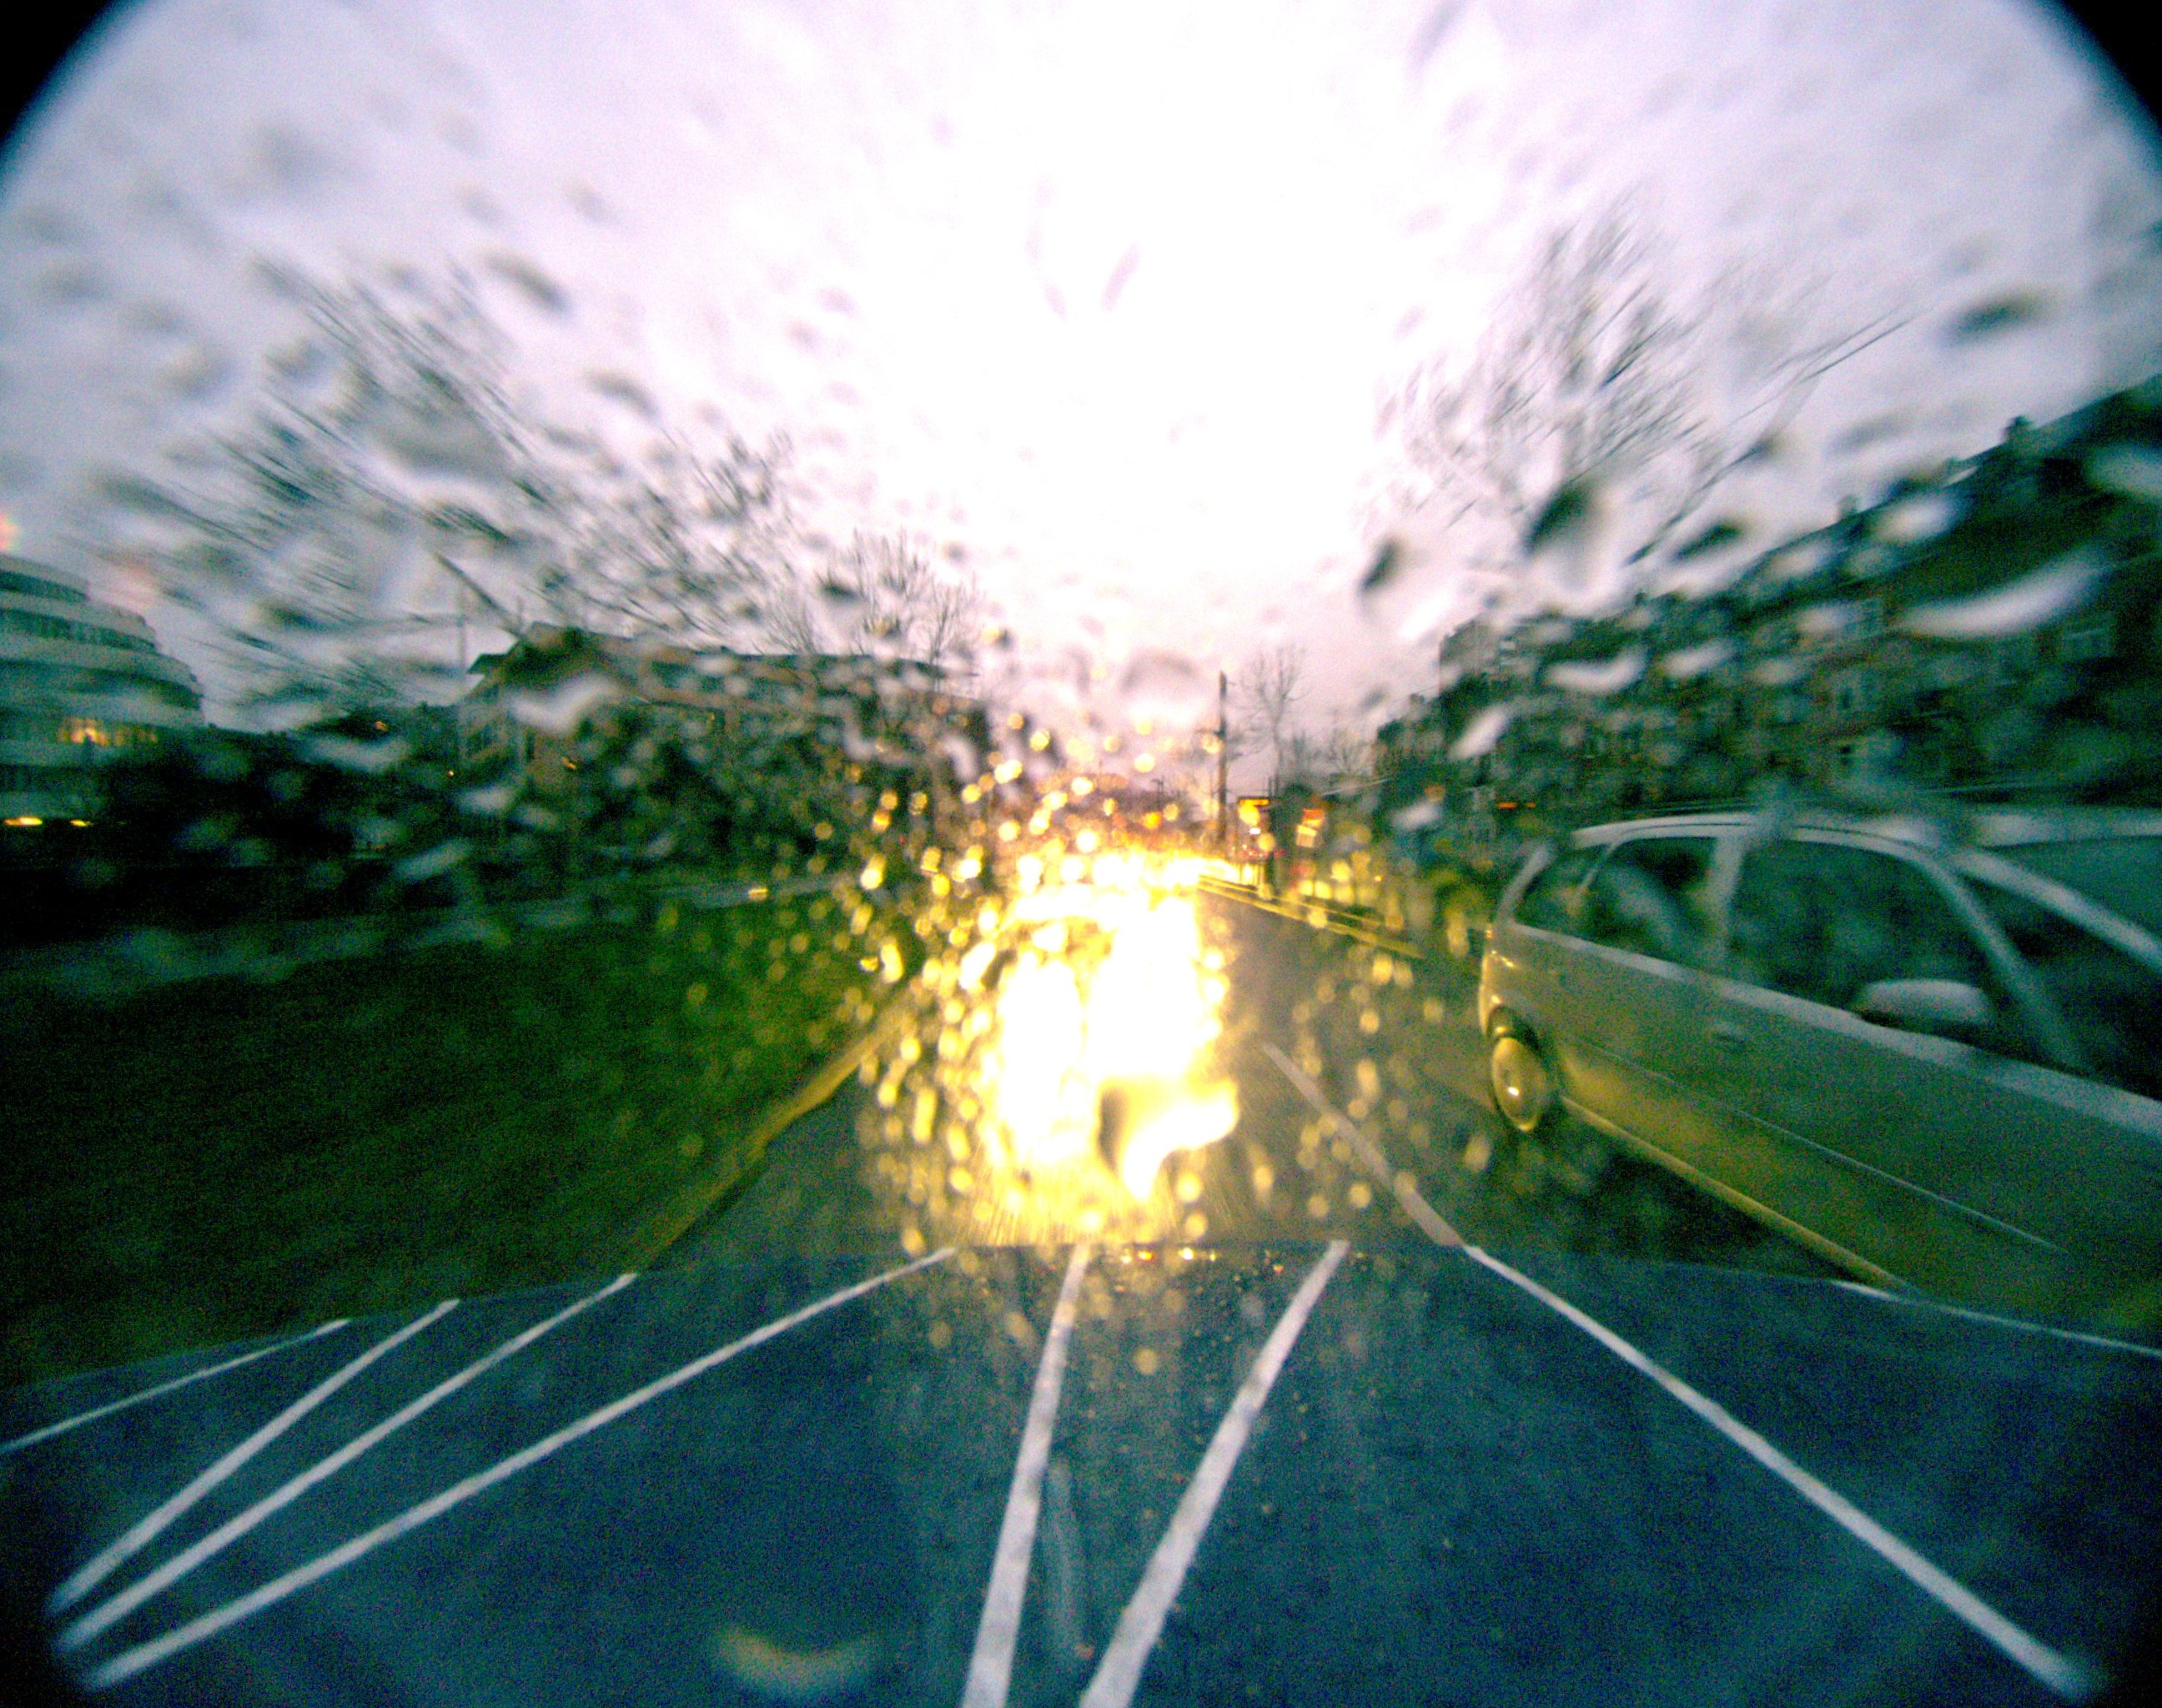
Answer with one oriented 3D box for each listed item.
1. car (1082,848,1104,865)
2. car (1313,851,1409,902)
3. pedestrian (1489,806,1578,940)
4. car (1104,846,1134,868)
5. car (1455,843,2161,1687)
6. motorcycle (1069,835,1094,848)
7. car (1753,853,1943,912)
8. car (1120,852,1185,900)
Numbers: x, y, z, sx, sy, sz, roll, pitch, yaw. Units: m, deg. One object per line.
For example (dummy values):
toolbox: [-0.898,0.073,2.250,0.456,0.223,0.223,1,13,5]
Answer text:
car: [1.075,0.183,67.991,1.813,1.385,4.053,-1,1,1]
car: [9.068,0.677,24.938,1.667,1.477,3.999,1,1,1]
pedestrian: [7.055,0.277,11.902,0.876,2.002,0.931,2,1,12]
car: [2.485,0.163,50.047,1.813,1.385,4.053,-1,1,1]
car: [2.979,0.778,2.224,1.813,1.591,4.053,-1,1,1]
motorcycle: [0.132,-1.999,122.782,3.997,2.002,0.926,-2,2,1]
car: [22.484,0.776,22.496,1.683,1.526,3.748,2,1,-3]
car: [2.254,0.672,24.984,1.813,1.385,4.053,-1,1,1]
